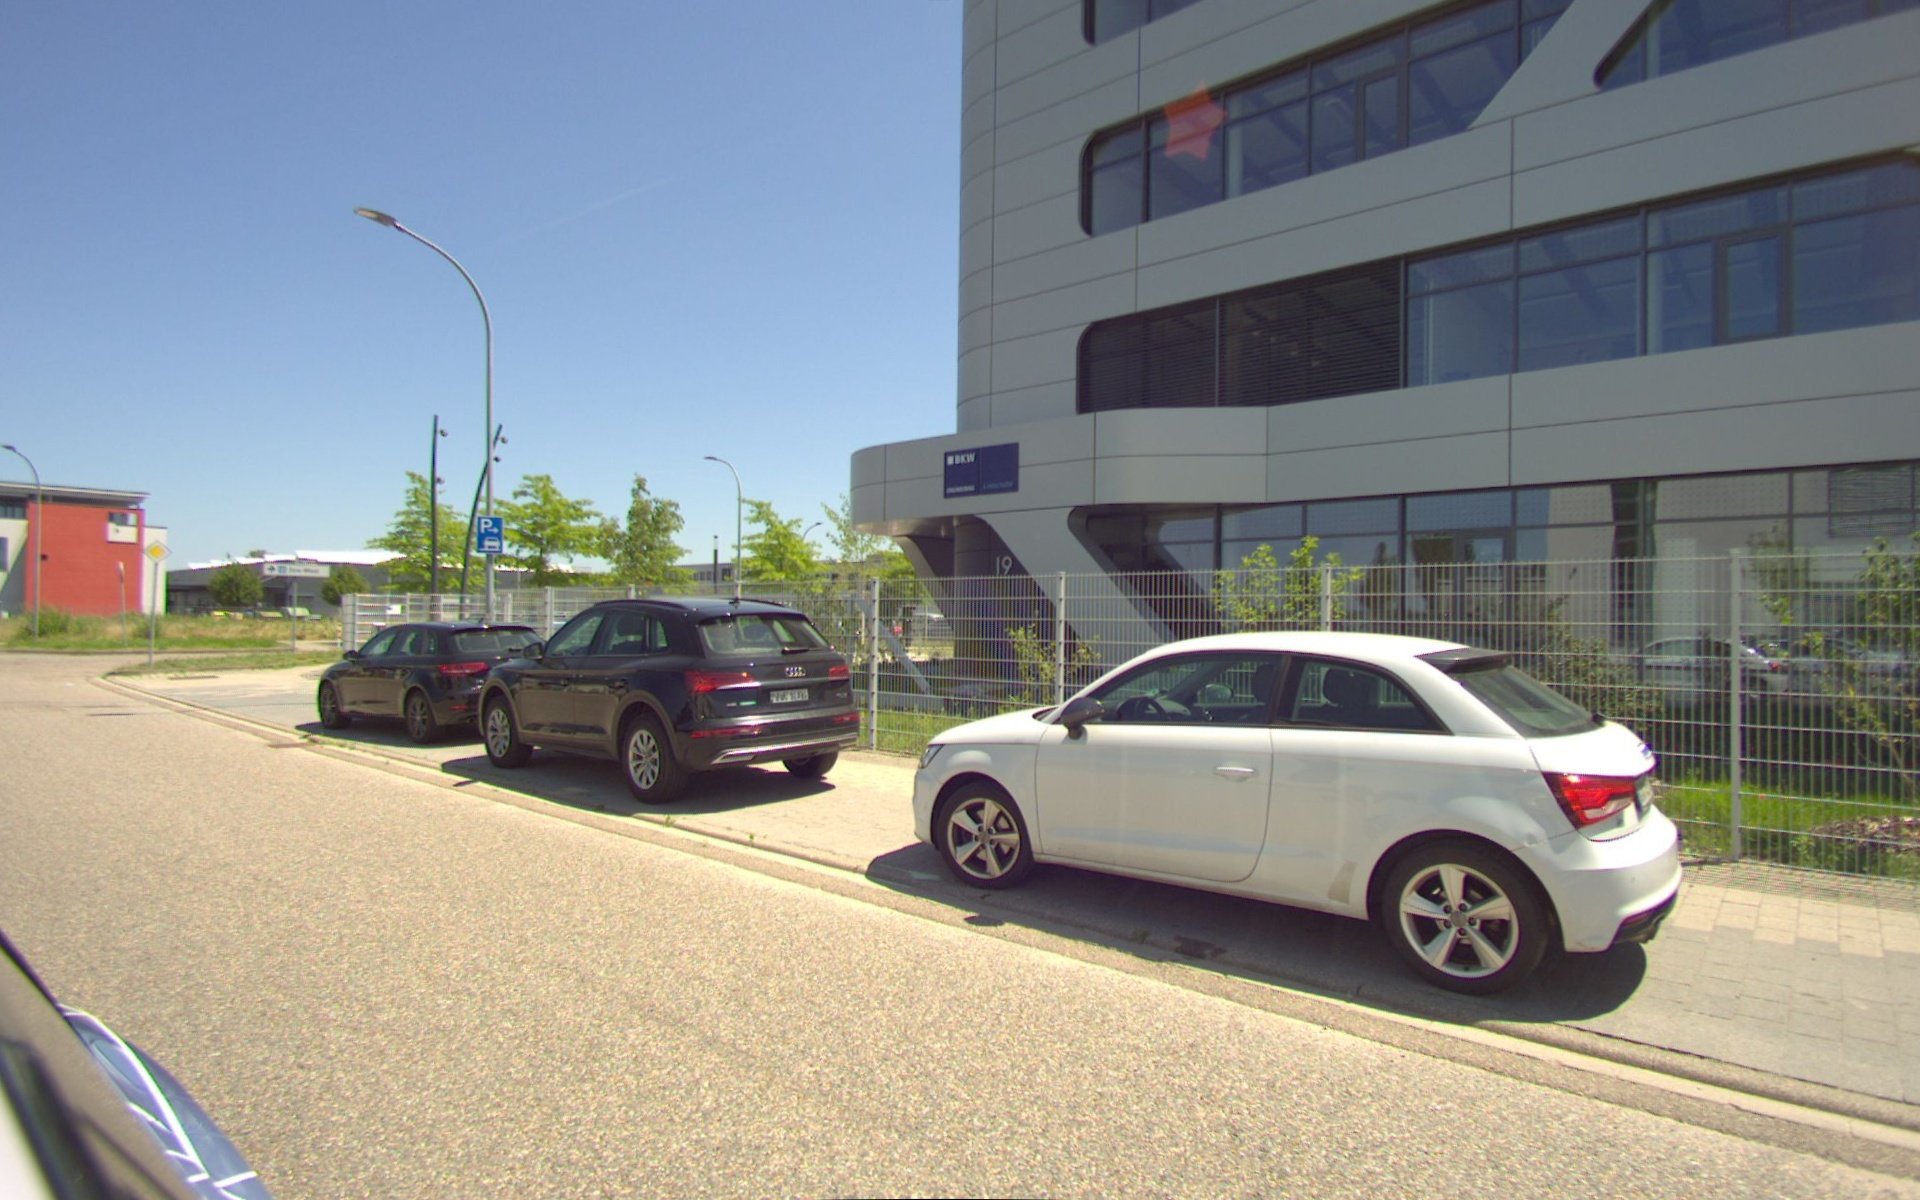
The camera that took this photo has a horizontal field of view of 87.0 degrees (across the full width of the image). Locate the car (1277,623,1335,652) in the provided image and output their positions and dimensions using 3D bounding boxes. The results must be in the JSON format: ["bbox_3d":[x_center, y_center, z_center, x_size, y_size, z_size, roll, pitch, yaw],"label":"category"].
[{"bbox_3d":[19.458,2.096,56.779,1.775,1.523,4.050,-1,-2,40],"label":"car"}]

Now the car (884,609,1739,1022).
[{"bbox_3d":[1.610,0.774,5.338,3.932,1.396,1.683,-1,-2,39],"label":"car"}]

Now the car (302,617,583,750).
[{"bbox_3d":[-6.876,0.972,13.281,4.181,1.477,1.752,-1,-2,39],"label":"car"}]

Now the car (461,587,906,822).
[{"bbox_3d":[-2.813,0.794,9.482,4.850,1.664,1.750,-1,-2,43],"label":"car"}]

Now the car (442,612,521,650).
[{"bbox_3d":[-22.744,1.431,48.007,4.308,1.710,1.931,0,0,43],"label":"car"}]

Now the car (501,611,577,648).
[{"bbox_3d":[-21.122,1.432,50.662,4.308,1.710,1.931,0,0,43],"label":"car"}]
